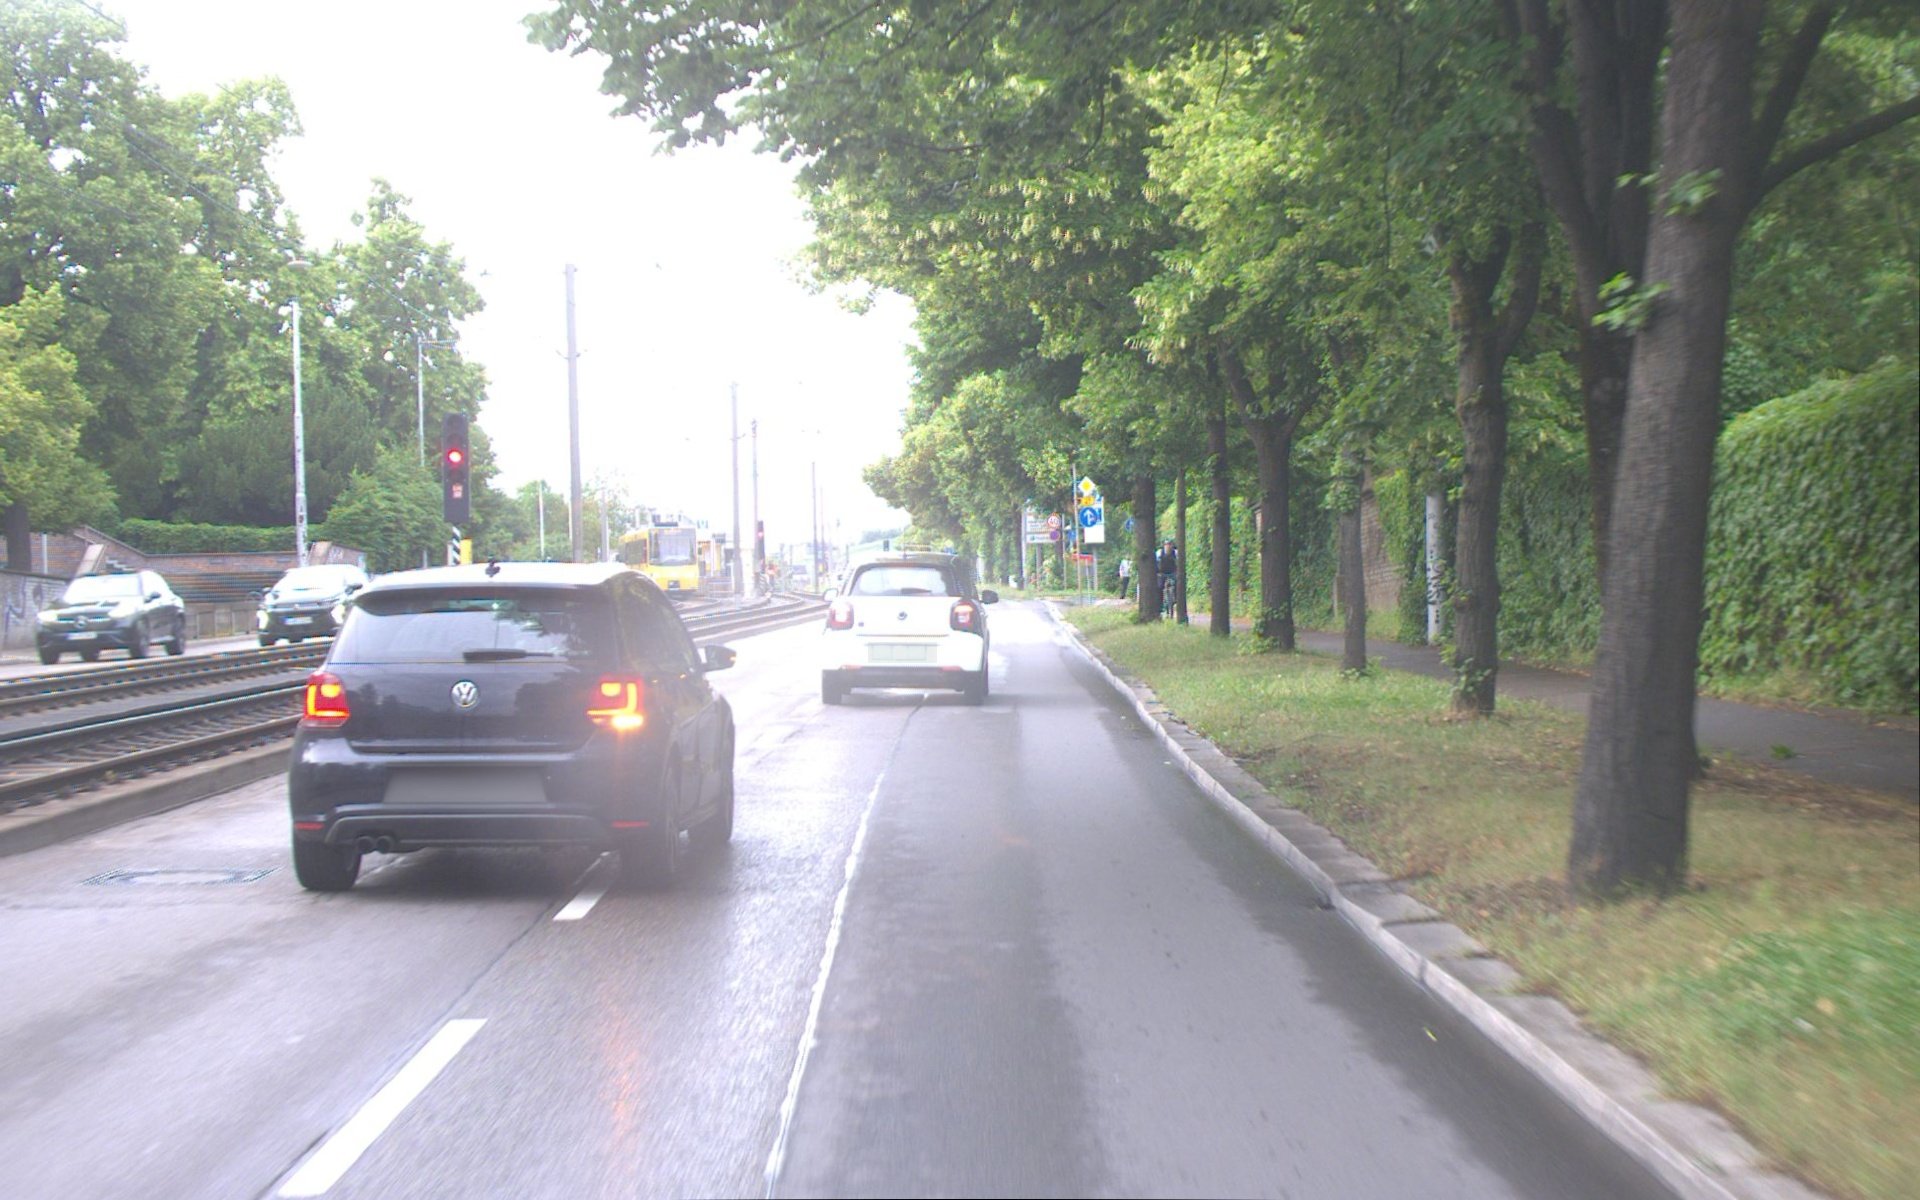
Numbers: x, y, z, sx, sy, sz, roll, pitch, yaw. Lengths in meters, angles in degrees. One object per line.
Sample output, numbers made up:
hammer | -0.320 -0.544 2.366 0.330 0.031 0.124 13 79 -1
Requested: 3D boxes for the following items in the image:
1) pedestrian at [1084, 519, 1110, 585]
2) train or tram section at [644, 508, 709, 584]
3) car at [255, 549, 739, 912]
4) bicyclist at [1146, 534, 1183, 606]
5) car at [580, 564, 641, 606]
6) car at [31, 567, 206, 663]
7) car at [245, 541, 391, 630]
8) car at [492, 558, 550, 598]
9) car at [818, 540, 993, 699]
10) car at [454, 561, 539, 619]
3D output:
pedestrian | 6.232 -2.169 156.308 1.164 2.967 0.948 0 1 0
train or tram section | -13.905 -2.657 169.172 2.832 3.593 9.271 0 1 -2
car | -2.055 0.515 16.309 1.794 1.480 3.965 1 1 -1
bicyclist | 4.626 -0.675 77.836 0.763 1.610 0.999 -1 1 0
car | -14.513 -0.641 143.031 1.993 1.656 5.127 0 1 0
car | -15.482 0.251 63.470 2.013 1.650 4.617 -1 1 1
car | -12.514 -0.304 67.238 1.835 1.650 4.239 -1 1 3
car | -16.322 -0.837 127.971 1.616 1.429 4.000 0 1 0
car | -0.521 0.165 35.680 1.676 1.525 3.722 1 1 1
car | -12.341 -0.285 91.617 1.681 1.456 3.608 -1 1 1
